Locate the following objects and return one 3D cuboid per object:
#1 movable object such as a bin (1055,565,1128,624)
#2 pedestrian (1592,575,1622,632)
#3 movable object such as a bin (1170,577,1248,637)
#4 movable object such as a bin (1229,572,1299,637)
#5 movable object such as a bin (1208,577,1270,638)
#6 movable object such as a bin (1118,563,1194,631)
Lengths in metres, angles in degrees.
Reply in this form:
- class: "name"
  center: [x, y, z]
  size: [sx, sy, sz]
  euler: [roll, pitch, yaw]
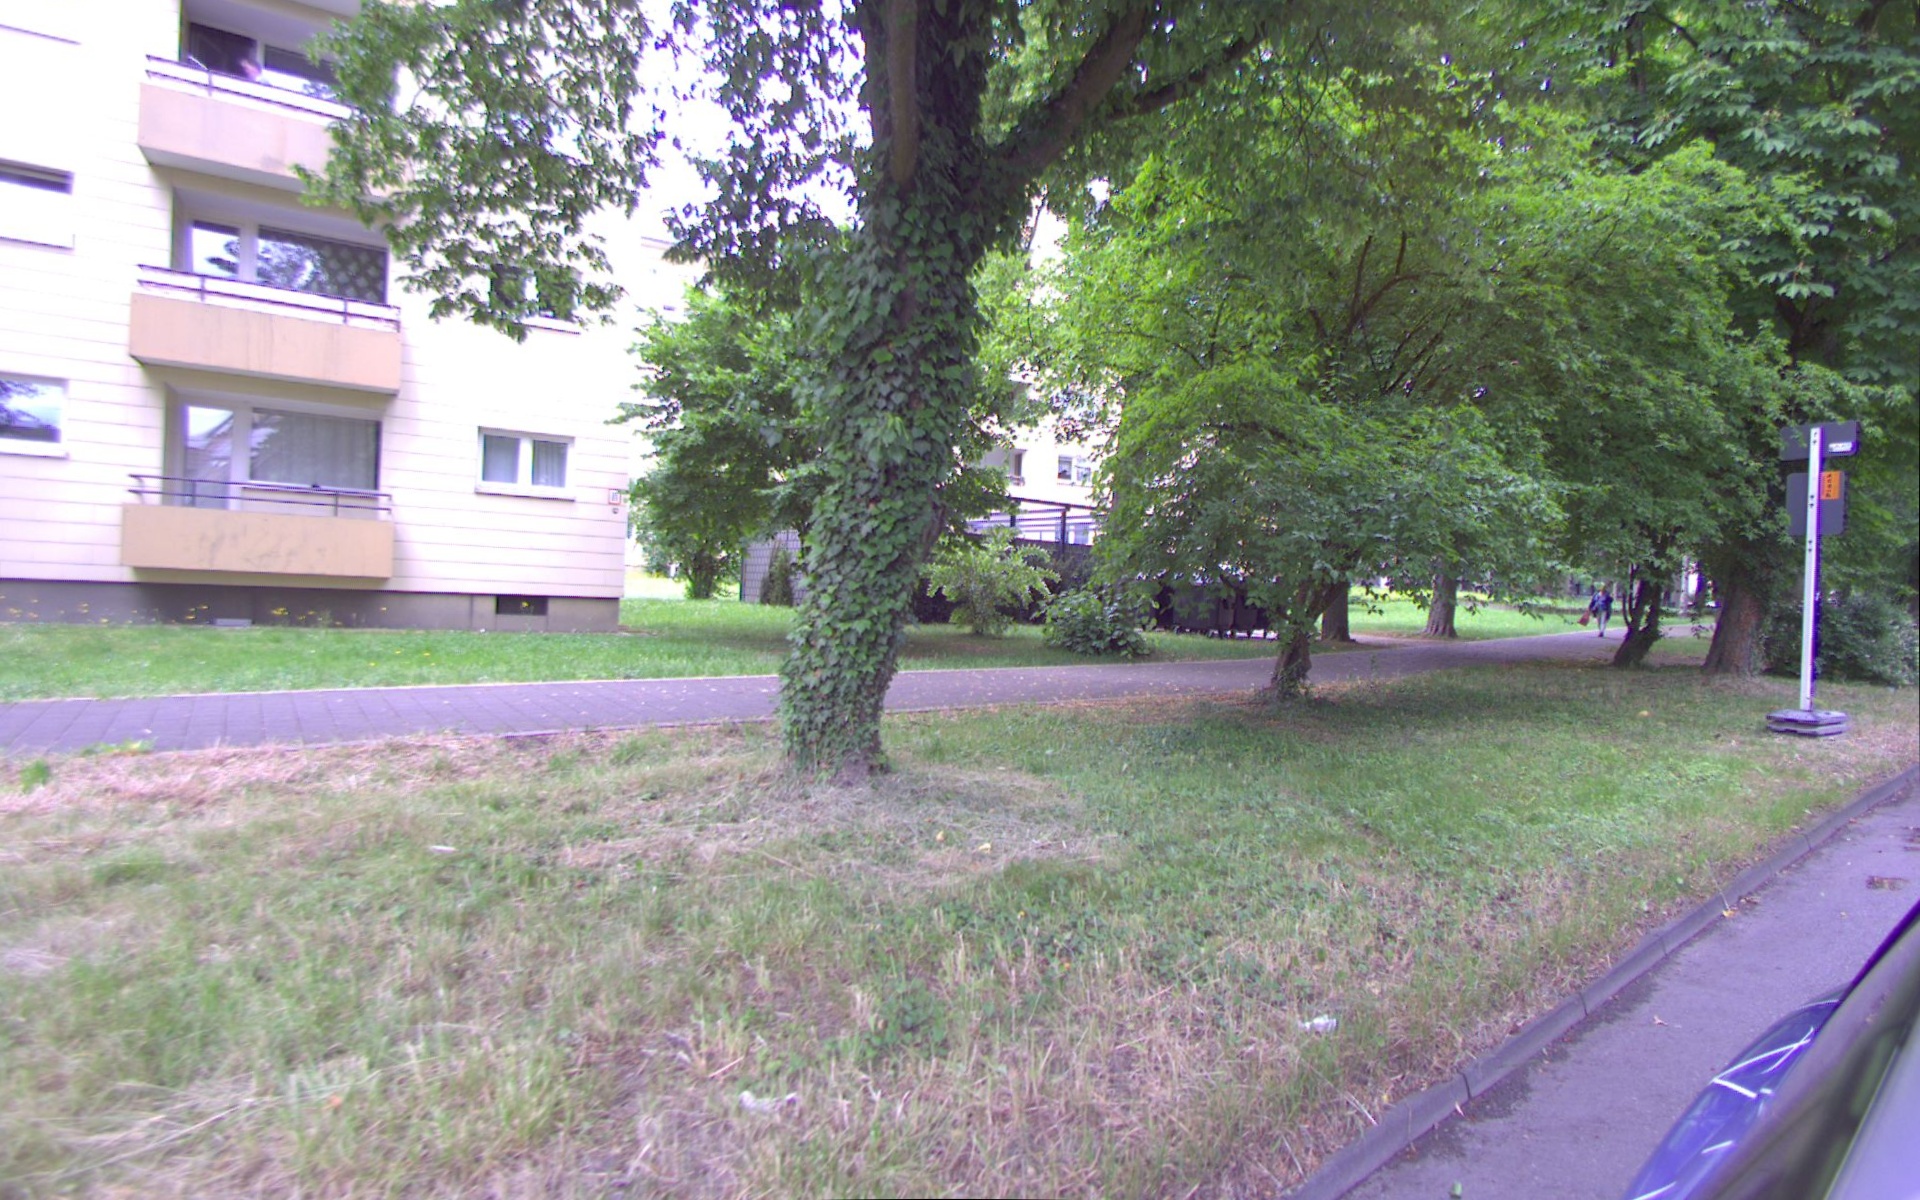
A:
- class: "movable object such as a bin"
  center: [3.206, -0.150, 24.628]
  size: [1.190, 1.358, 1.329]
  euler: [3, 2, 40]
- class: "pedestrian"
  center: [20.348, 0.108, 31.827]
  size: [0.560, 1.761, 0.565]
  euler: [1, 2, -42]
- class: "movable object such as a bin"
  center: [5.491, 0.135, 22.319]
  size: [1.190, 1.236, 1.329]
  euler: [3, 2, 40]
- class: "movable object such as a bin"
  center: [7.158, 0.091, 23.837]
  size: [1.190, 1.431, 1.095]
  euler: [3, 2, 40]
- class: "movable object such as a bin"
  center: [6.367, 0.153, 23.106]
  size: [1.022, 1.320, 0.946]
  euler: [3, 2, 40]
- class: "movable object such as a bin"
  center: [4.489, -0.085, 23.175]
  size: [1.190, 1.474, 1.329]
  euler: [3, 2, 40]
